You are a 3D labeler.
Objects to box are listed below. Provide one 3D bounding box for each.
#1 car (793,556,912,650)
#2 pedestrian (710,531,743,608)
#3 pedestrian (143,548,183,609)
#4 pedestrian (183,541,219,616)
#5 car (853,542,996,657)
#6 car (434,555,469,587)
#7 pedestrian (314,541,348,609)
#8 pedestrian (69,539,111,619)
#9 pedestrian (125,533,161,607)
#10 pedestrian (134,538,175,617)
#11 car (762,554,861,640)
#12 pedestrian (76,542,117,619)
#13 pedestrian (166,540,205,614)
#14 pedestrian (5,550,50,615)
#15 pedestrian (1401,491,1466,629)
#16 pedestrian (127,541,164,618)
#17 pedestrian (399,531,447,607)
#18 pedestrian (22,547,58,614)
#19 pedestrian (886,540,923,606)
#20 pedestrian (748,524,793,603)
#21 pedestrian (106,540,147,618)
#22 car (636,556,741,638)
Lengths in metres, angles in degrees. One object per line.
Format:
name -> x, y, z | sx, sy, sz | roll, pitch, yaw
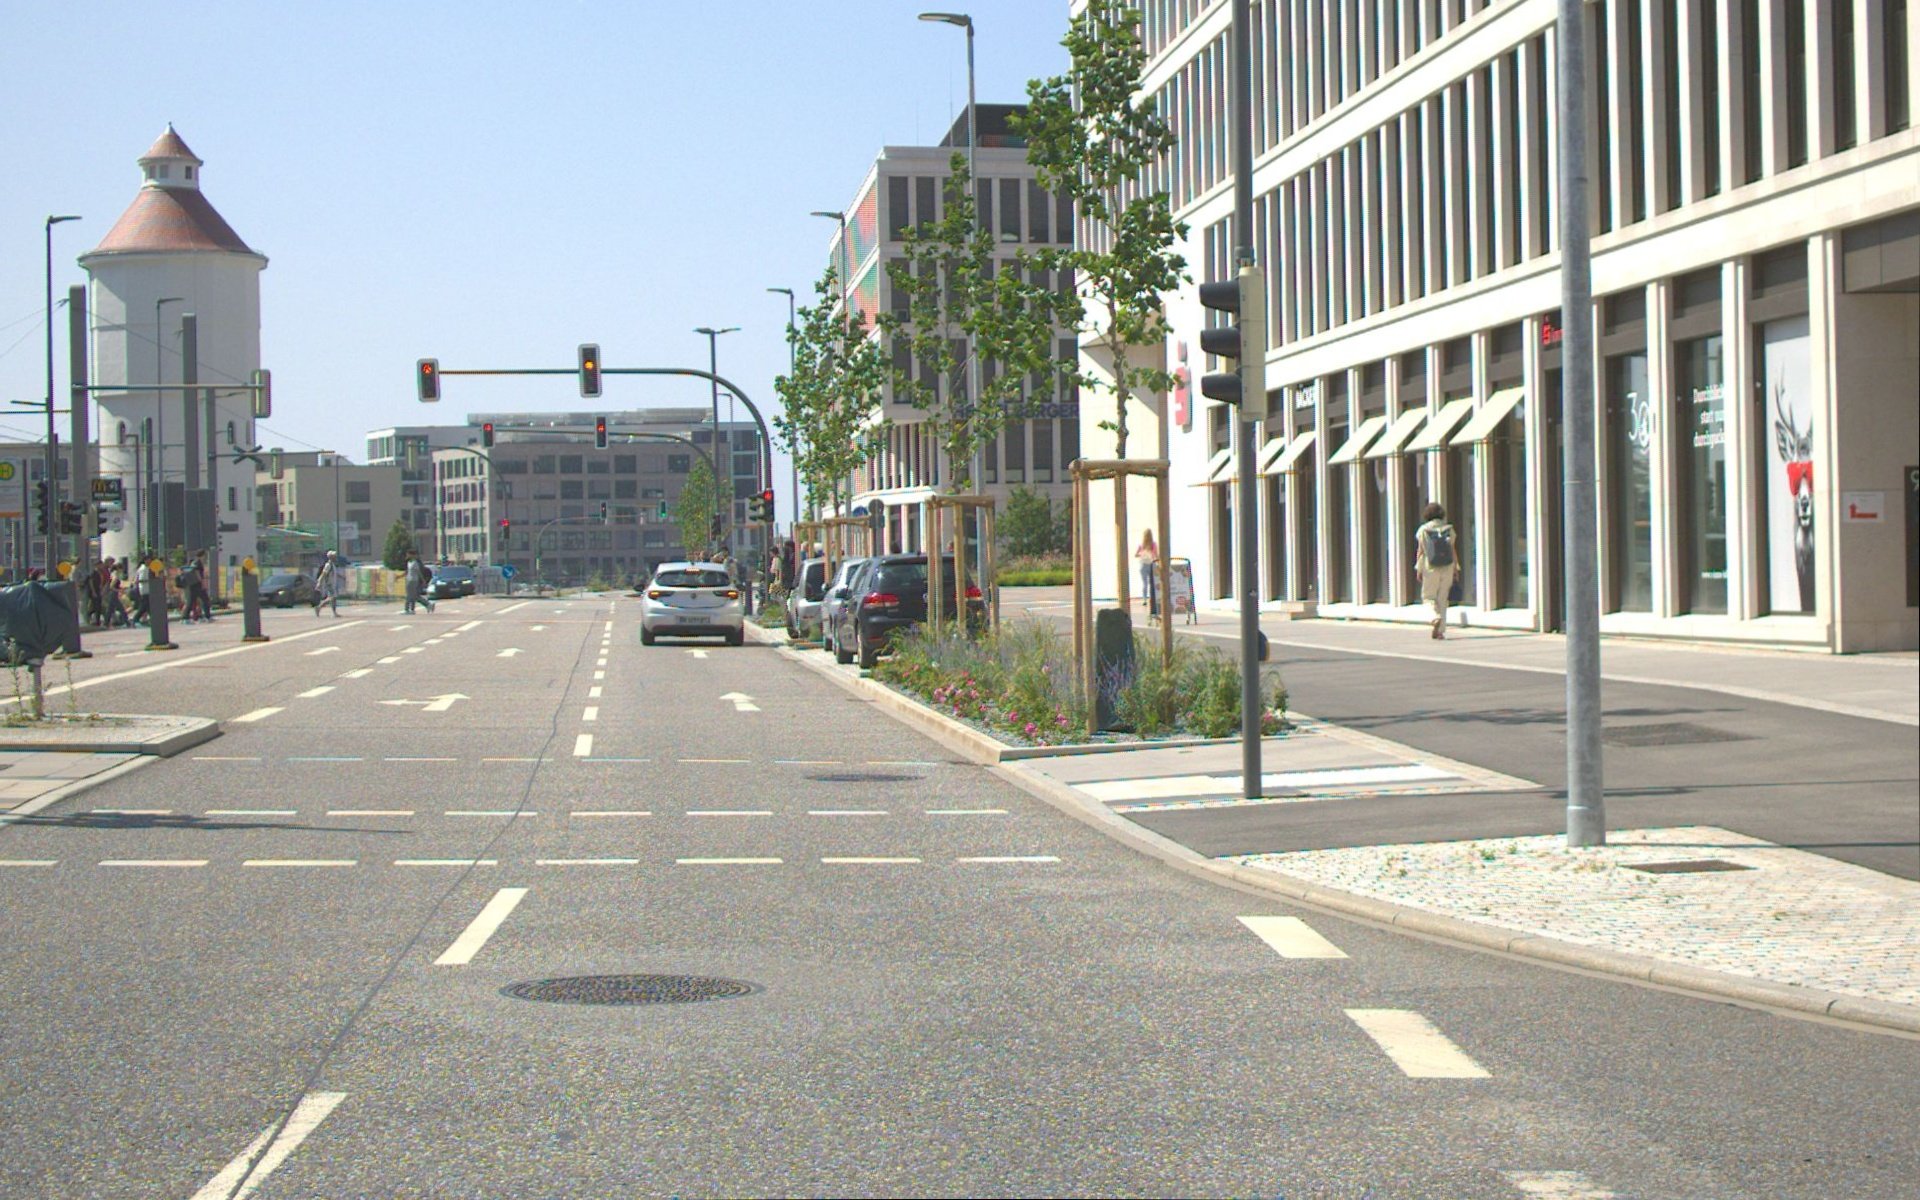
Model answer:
car -> -1.728, 0.020, 54.275 | 1.605, 1.383, 3.815 | -1, 1, -5
pedestrian -> -5.770, -0.765, 84.950 | 0.730, 1.884, 0.821 | -1, 1, 1
pedestrian -> -21.623, -0.580, 93.287 | 0.887, 1.641, 0.796 | -1, 1, -1
pedestrian -> -19.255, -0.546, 87.173 | 0.766, 1.884, 0.692 | -1, 1, -4
car -> -0.516, -0.017, 46.330 | 1.736, 1.469, 3.981 | 0, 0, -3
car -> -25.362, -1.445, 171.455 | 1.586, 1.525, 3.693 | 0, 0, -7
pedestrian -> -16.278, -0.648, 88.937 | 0.766, 1.728, 0.692 | -1, 1, -4
pedestrian -> -20.900, -0.509, 82.592 | 0.887, 1.884, 0.692 | -1, 1, -10
pedestrian -> -21.072, -0.766, 88.684 | 0.734, 1.884, 0.713 | 1, 0, -1
pedestrian -> -19.451, -0.553, 83.029 | 0.887, 1.884, 0.692 | -1, 1, -10
car -> -2.692, -0.069, 61.648 | 1.555, 1.467, 3.471 | -1, 1, -6
pedestrian -> -21.240, -0.487, 84.576 | 0.887, 1.884, 0.692 | -1, 1, -10
pedestrian -> -19.828, -0.586, 88.009 | 0.841, 1.884, 0.692 | -1, 1, -4
pedestrian -> -23.736, -0.445, 87.499 | 0.910, 1.631, 0.814 | -1, 1, 0
pedestrian -> 6.030, -0.509, 43.805 | 0.627, 1.736, 0.814 | -1, 1, -5
pedestrian -> -20.348, -0.517, 85.872 | 0.766, 1.884, 0.692 | -1, 1, -4
pedestrian -> -14.460, -0.830, 92.545 | 1.020, 2.007, 0.954 | -1, 1, -24
pedestrian -> -22.416, -0.485, 83.775 | 0.633, 1.612, 0.768 | -1, 1, 0
pedestrian -> -1.390, -0.676, 86.078 | 0.766, 1.614, 0.691 | -1, 1, 11
pedestrian -> -4.610, -0.886, 83.573 | 1.013, 1.884, 0.798 | -1, 1, -8
pedestrian -> -20.356, -0.506, 83.939 | 0.887, 1.884, 0.692 | -1, 1, -10
car -> -4.793, -0.038, 61.031 | 1.771, 1.390, 3.532 | 1, -1, -4
